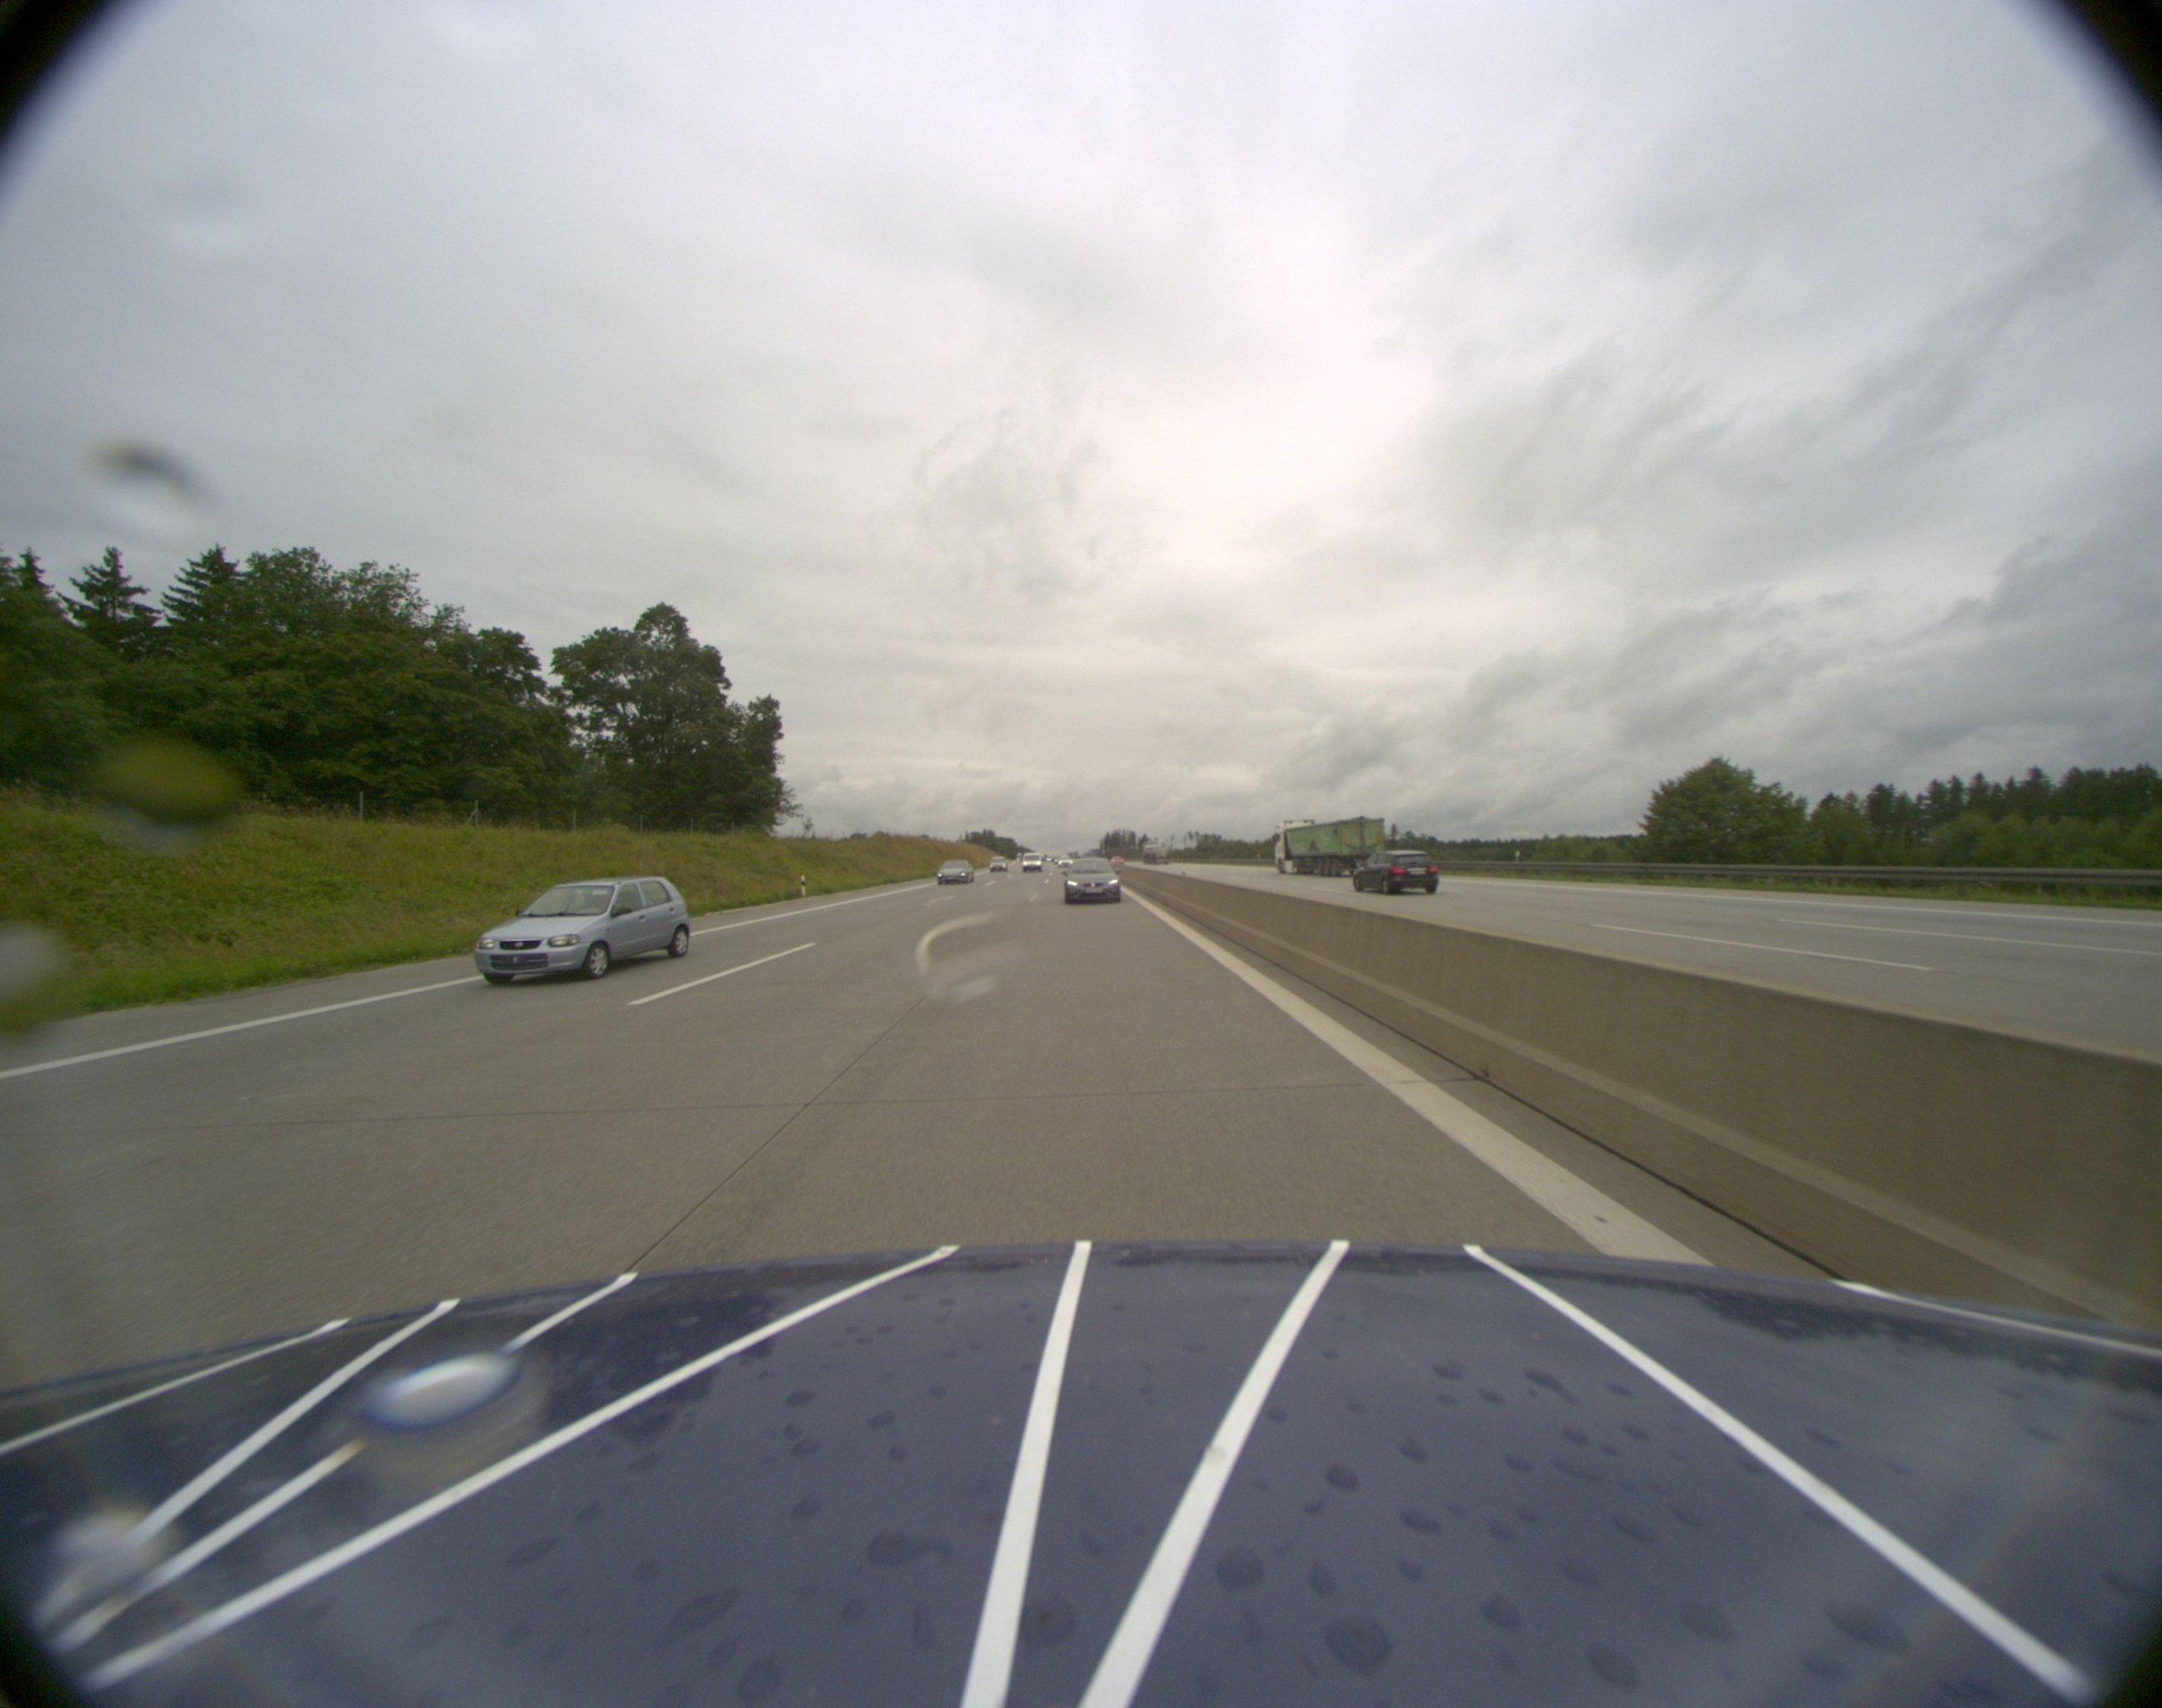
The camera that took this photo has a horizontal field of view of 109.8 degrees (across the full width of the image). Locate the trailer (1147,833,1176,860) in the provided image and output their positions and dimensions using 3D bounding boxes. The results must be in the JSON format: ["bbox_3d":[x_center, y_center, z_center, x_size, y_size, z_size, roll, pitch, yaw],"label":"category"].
[{"bbox_3d":[13.156,-1.182,125.268,2.766,3.974,12.288,-2,-1,-2],"label":"trailer"}]

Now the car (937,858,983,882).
[{"bbox_3d":[-7.756,1.012,49.192,2.019,1.437,4.746,-3,-1,1],"label":"car"}]

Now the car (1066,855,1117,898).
[{"bbox_3d":[0.368,0.821,29.403,1.790,1.472,4.570,-1,0,0],"label":"car"}]

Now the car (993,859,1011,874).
[{"bbox_3d":[-8.751,1.411,84.306,1.790,1.595,4.569,1,-1,-4],"label":"car"}]

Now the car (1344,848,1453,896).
[{"bbox_3d":[11.625,0.597,28.257,1.999,1.580,4.771,-2,0,0],"label":"car"}]

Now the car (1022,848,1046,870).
[{"bbox_3d":[-4.735,0.587,77.587,2.043,2.111,6.069,1,-1,1],"label":"car"}]

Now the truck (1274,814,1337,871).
[{"bbox_3d":[15.875,-0.793,54.095,2.757,3.780,5.529,-2,1,0],"label":"truck"}]

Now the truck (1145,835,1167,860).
[{"bbox_3d":[12.914,-1.081,131.560,2.754,3.975,6.929,-2,-1,-3],"label":"truck"}]

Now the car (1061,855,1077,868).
[{"bbox_3d":[-1.518,0.972,99.519,1.998,1.632,5.043,1,-1,0],"label":"car"}]

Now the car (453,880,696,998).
[{"bbox_3d":[-7.603,1.189,11.832,1.489,1.462,3.504,-1,-1,-1],"label":"car"}]

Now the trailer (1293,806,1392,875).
[{"bbox_3d":[15.965,-0.748,47.262,2.756,3.777,9.314,-2,0,-1],"label":"trailer"}]

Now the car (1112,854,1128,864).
[{"bbox_3d":[6.031,0.791,118.203,1.999,1.432,4.767,-3,-1,-2],"label":"car"}]

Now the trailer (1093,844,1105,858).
[{"bbox_3d":[6.011,-0.948,251.709,2.773,4.256,12.164,-2,-1,-4],"label":"trailer"}]

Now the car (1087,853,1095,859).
[{"bbox_3d":[2.427,0.526,186.277,1.797,1.408,4.342,-2,-1,-3],"label":"car"}]
